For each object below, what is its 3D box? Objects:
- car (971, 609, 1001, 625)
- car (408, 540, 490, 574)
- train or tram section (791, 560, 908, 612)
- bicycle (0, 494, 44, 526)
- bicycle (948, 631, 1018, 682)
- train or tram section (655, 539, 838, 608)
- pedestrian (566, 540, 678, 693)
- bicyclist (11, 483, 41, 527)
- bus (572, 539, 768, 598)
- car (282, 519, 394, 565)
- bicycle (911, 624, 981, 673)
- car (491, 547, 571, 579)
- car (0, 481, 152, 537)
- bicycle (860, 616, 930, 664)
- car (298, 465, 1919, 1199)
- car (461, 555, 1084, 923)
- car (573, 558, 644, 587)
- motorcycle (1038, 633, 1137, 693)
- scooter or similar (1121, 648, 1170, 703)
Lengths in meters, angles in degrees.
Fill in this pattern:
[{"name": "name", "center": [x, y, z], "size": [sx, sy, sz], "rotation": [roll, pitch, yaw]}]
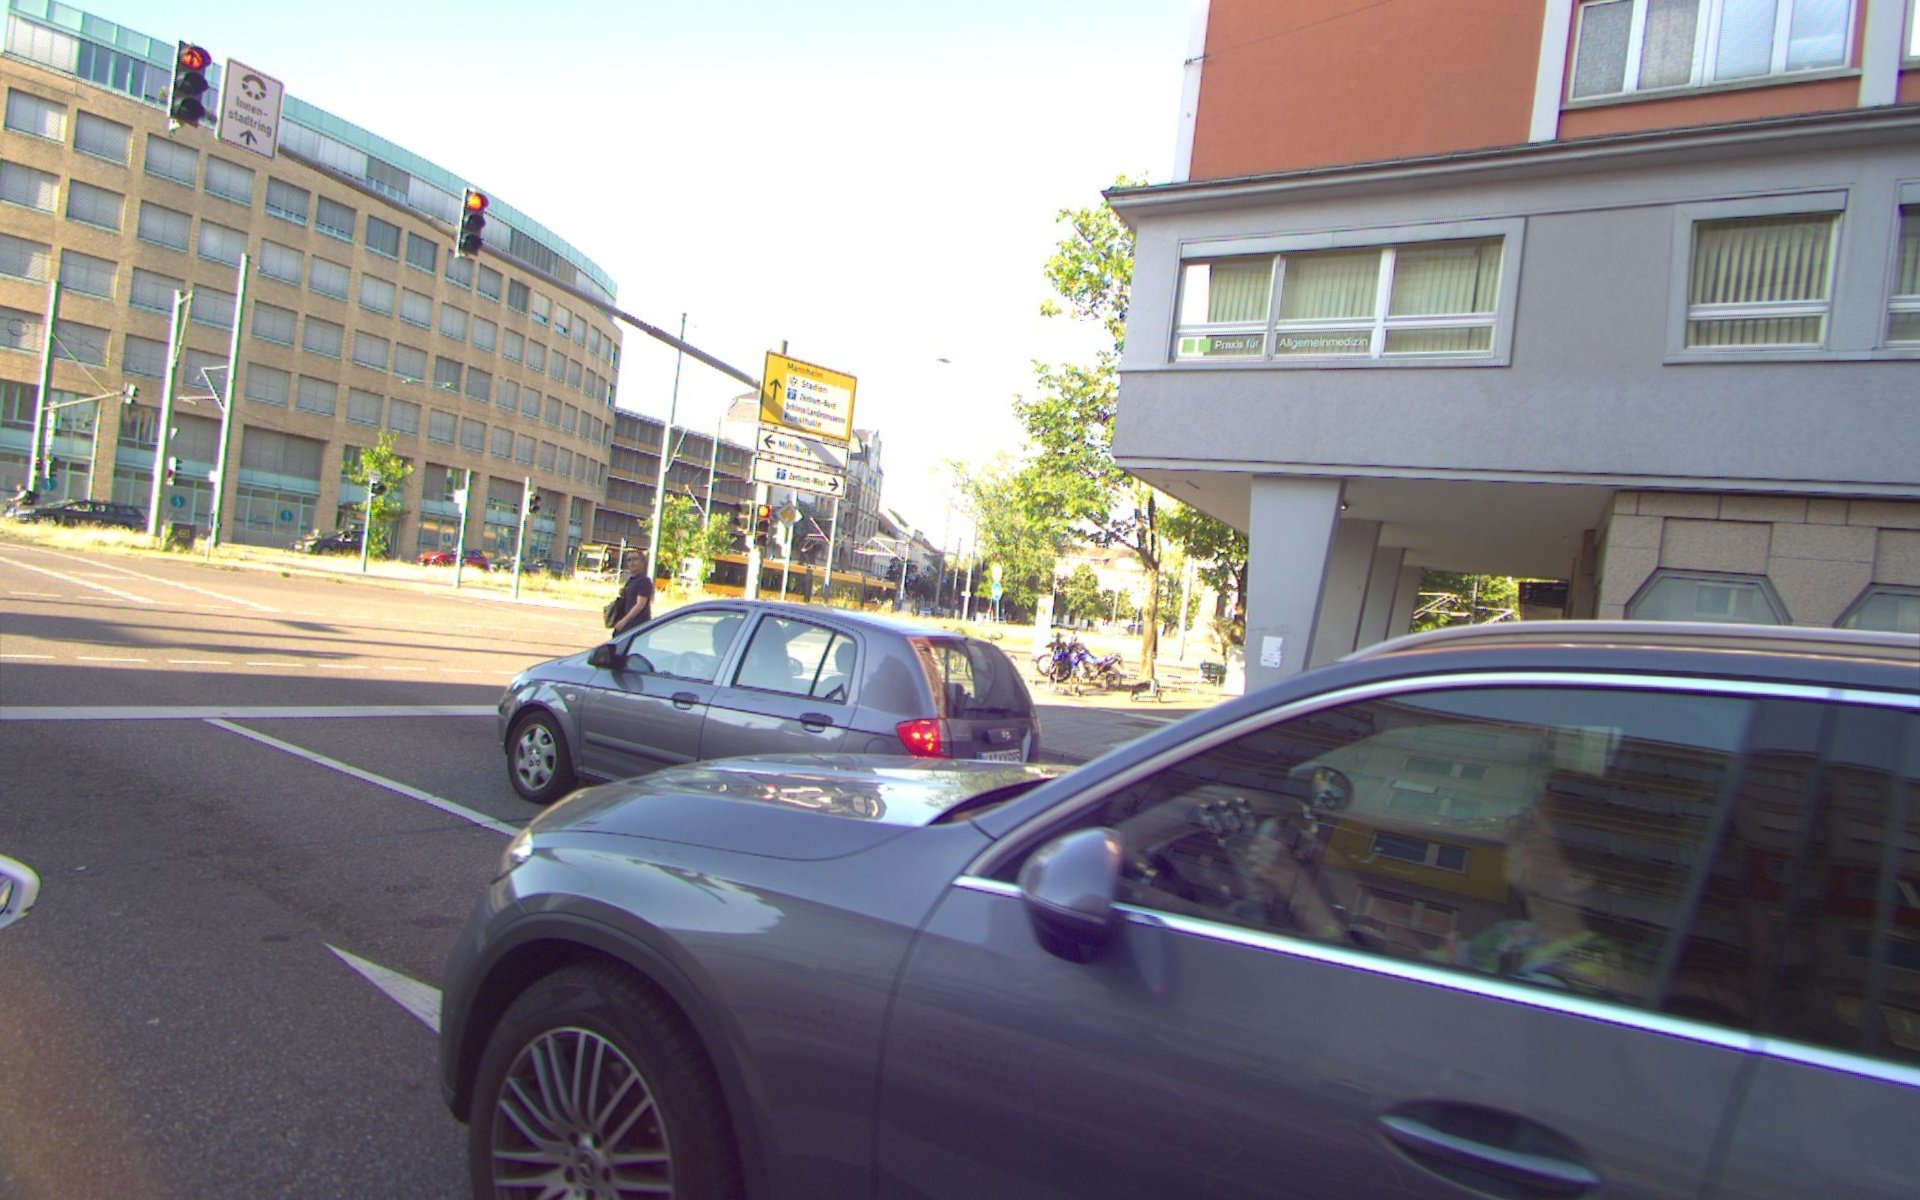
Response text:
[{"name": "car", "center": [3.506, 2.309, 135.538], "size": [1.971, 1.610, 3.983], "rotation": [7, 0, 40]}, {"name": "car", "center": [-28.186, -2.363, 55.552], "size": [1.693, 1.359, 3.613], "rotation": [7, 0, 31]}, {"name": "train or tram section", "center": [-9.292, -1.015, 89.336], "size": [3.629, 3.215, 19.969], "rotation": [7, 0, 13]}, {"name": "bicycle", "center": [-41.034, -3.929, 43.824], "size": [0.468, 1.187, 1.519], "rotation": [8, 0, 37]}, {"name": "bicycle", "center": [0.598, 1.403, 24.999], "size": [0.730, 1.131, 2.089], "rotation": [7, 1, 29]}, {"name": "train or tram section", "center": [-14.638, -1.628, 71.966], "size": [3.632, 3.215, 17.155], "rotation": [7, 0, 22]}, {"name": "pedestrian", "center": [-4.210, 0.218, 12.551], "size": [0.659, 1.790, 0.944], "rotation": [7, 1, 35]}, {"name": "bicyclist", "center": [-40.860, -4.150, 44.017], "size": [0.468, 1.757, 0.790], "rotation": [8, 1, 37]}, {"name": "bus", "center": [-21.087, -2.143, 75.641], "size": [2.380, 2.466, 18.212], "rotation": [7, 0, 26]}, {"name": "car", "center": [-30.984, -2.880, 50.222], "size": [1.967, 1.634, 4.234], "rotation": [7, 0, 32]}, {"name": "bicycle", "center": [-0.332, 1.245, 25.777], "size": [0.730, 1.131, 2.089], "rotation": [7, 1, 29]}, {"name": "car", "center": [-25.712, -2.214, 60.456], "size": [1.965, 1.363, 3.995], "rotation": [7, -1, 28]}, {"name": "car", "center": [-38.063, -3.885, 43.301], "size": [1.965, 1.617, 4.656], "rotation": [7, 0, 28]}, {"name": "bicycle", "center": [-1.681, 1.078, 26.474], "size": [0.730, 1.131, 2.089], "rotation": [7, 1, 29]}, {"name": "car", "center": [0.919, 0.817, 1.955], "size": [4.402, 1.653, 1.787], "rotation": [7, 0, 30]}, {"name": "car", "center": [-1.257, 0.697, 6.378], "size": [3.586, 1.463, 1.588], "rotation": [7, -1, 30]}, {"name": "car", "center": [-22.896, -1.801, 65.664], "size": [1.965, 1.363, 3.995], "rotation": [7, -1, 28]}, {"name": "motorcycle", "center": [3.428, 1.684, 27.080], "size": [2.361, 1.256, 0.855], "rotation": [7, 1, 28]}, {"name": "scooter or similar", "center": [4.551, 1.849, 24.696], "size": [1.130, 1.261, 0.424], "rotation": [5, 2, -39]}]
